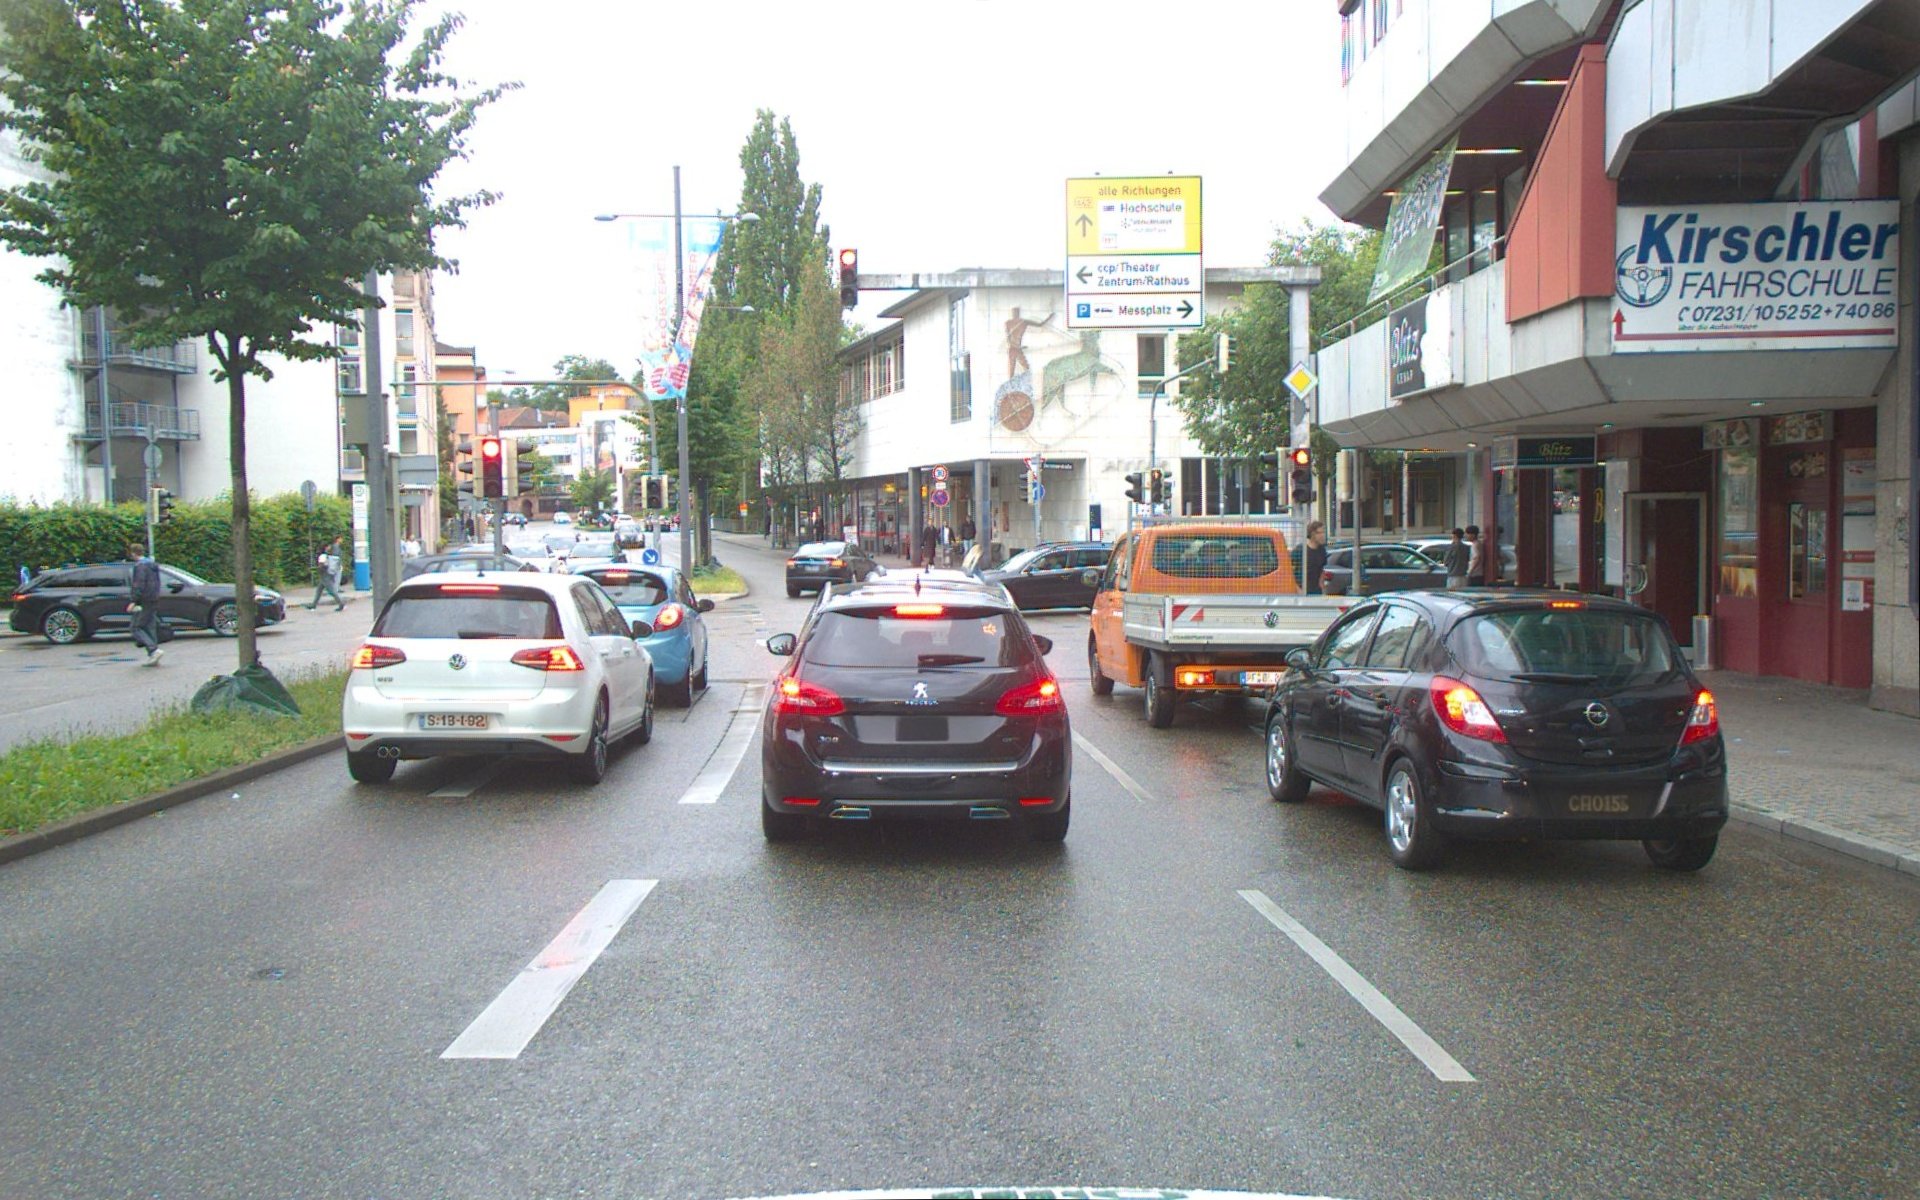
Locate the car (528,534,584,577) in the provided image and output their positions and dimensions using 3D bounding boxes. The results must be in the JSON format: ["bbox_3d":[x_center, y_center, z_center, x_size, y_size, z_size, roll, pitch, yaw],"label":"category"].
[{"bbox_3d":[-15.109,-1.675,61.981,1.602,1.512,3.605,1,2,-7],"label":"car"}]

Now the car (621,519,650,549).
[{"bbox_3d":[-20.344,-4.139,103.743,1.713,1.669,3.989,1,-1,-11],"label":"car"}]

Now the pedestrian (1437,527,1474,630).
[{"bbox_3d":[8.321,-0.354,27.780,0.417,1.712,0.450,-1,-1,-2],"label":"pedestrian"}]

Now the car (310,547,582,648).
[{"bbox_3d":[-9.029,-0.080,29.411,4.415,1.479,1.787,-3,3,-14],"label":"car"}]

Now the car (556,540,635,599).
[{"bbox_3d":[-10.753,-0.855,49.012,1.710,1.607,3.996,1,-1,-4],"label":"car"}]

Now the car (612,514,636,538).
[{"bbox_3d":[-29.882,-6.558,146.907,1.679,1.915,3.979,1,-1,-18],"label":"car"}]

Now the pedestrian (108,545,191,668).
[{"bbox_3d":[-12.217,0.096,24.953,0.905,1.815,0.708,1,-1,-6],"label":"pedestrian"}]

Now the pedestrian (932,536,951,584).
[{"bbox_3d":[-0.711,-1.508,62.893,0.623,1.788,0.734,1,-1,5],"label":"pedestrian"}]

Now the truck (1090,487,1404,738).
[{"bbox_3d":[2.759,0.040,17.243,2.133,2.210,5.018,1,2,-3],"label":"truck"}]

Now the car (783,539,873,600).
[{"bbox_3d":[-3.564,-0.793,45.297,1.688,1.516,4.735,1,-1,5],"label":"car"}]

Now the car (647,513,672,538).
[{"bbox_3d":[-26.868,-6.625,147.788,1.679,1.970,3.979,1,-1,-18],"label":"car"}]

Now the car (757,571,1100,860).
[{"bbox_3d":[-0.251,0.565,10.399,1.742,1.454,3.840,1,1,-3],"label":"car"}]

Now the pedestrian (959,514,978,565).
[{"bbox_3d":[0.327,-2.304,63.424,0.623,1.930,0.734,1,-1,5],"label":"pedestrian"}]

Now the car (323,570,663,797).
[{"bbox_3d":[-3.389,0.516,12.726,1.742,1.454,3.839,1,1,-4],"label":"car"}]

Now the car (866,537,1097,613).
[{"bbox_3d":[0.437,-0.529,35.037,4.642,1.512,1.632,0,2,-14],"label":"car"}]

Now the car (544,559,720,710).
[{"bbox_3d":[-3.625,0.312,18.781,1.601,1.512,3.606,1,2,-6],"label":"car"}]

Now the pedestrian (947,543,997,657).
[{"bbox_3d":[0.193,0.000,25.255,0.733,1.710,0.709,1,-1,1],"label":"pedestrian"}]

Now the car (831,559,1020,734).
[{"bbox_3d":[-0.342,0.370,16.572,1.662,1.512,3.793,1,2,-1],"label":"car"}]

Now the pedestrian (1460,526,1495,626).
[{"bbox_3d":[8.801,-0.406,28.120,0.388,1.668,0.504,-1,-1,0],"label":"pedestrian"}]

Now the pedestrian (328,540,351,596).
[{"bbox_3d":[-19.758,-1.014,52.665,0.528,1.778,0.564,1,-1,-6],"label":"pedestrian"}]

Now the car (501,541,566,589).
[{"bbox_3d":[-14.268,-1.191,55.461,1.602,1.512,3.605,1,2,-7],"label":"car"}]

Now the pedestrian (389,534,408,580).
[{"bbox_3d":[-22.025,-1.694,64.890,0.584,1.758,0.655,1,-1,-9],"label":"pedestrian"}]

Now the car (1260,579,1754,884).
[{"bbox_3d":[3.041,0.626,10.049,1.584,1.454,3.841,1,1,-2],"label":"car"}]

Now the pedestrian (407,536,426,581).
[{"bbox_3d":[-21.477,-1.623,65.328,0.584,1.758,0.655,1,-1,-9],"label":"pedestrian"}]

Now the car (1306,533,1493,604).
[{"bbox_3d":[10.010,-0.689,37.767,3.828,1.512,1.618,1,-1,-14],"label":"car"}]

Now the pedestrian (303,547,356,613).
[{"bbox_3d":[-15.759,-0.490,41.362,1.041,1.606,0.683,1,-1,-6],"label":"pedestrian"}]

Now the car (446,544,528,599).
[{"bbox_3d":[-13.710,-0.844,48.101,1.543,1.512,3.607,1,2,-4],"label":"car"}]

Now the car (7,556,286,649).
[{"bbox_3d":[-15.473,0.010,31.709,4.415,1.479,1.787,-3,3,-14],"label":"car"}]

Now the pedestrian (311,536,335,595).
[{"bbox_3d":[-19.594,-1.065,50.877,0.529,1.778,0.746,1,-1,-9],"label":"pedestrian"}]

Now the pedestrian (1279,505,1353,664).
[{"bbox_3d":[4.320,-0.180,20.118,0.726,1.847,0.774,-4,-1,11],"label":"pedestrian"}]

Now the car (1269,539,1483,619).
[{"bbox_3d":[8.387,-0.393,33.385,3.924,1.512,1.616,1,-1,-17],"label":"car"}]
